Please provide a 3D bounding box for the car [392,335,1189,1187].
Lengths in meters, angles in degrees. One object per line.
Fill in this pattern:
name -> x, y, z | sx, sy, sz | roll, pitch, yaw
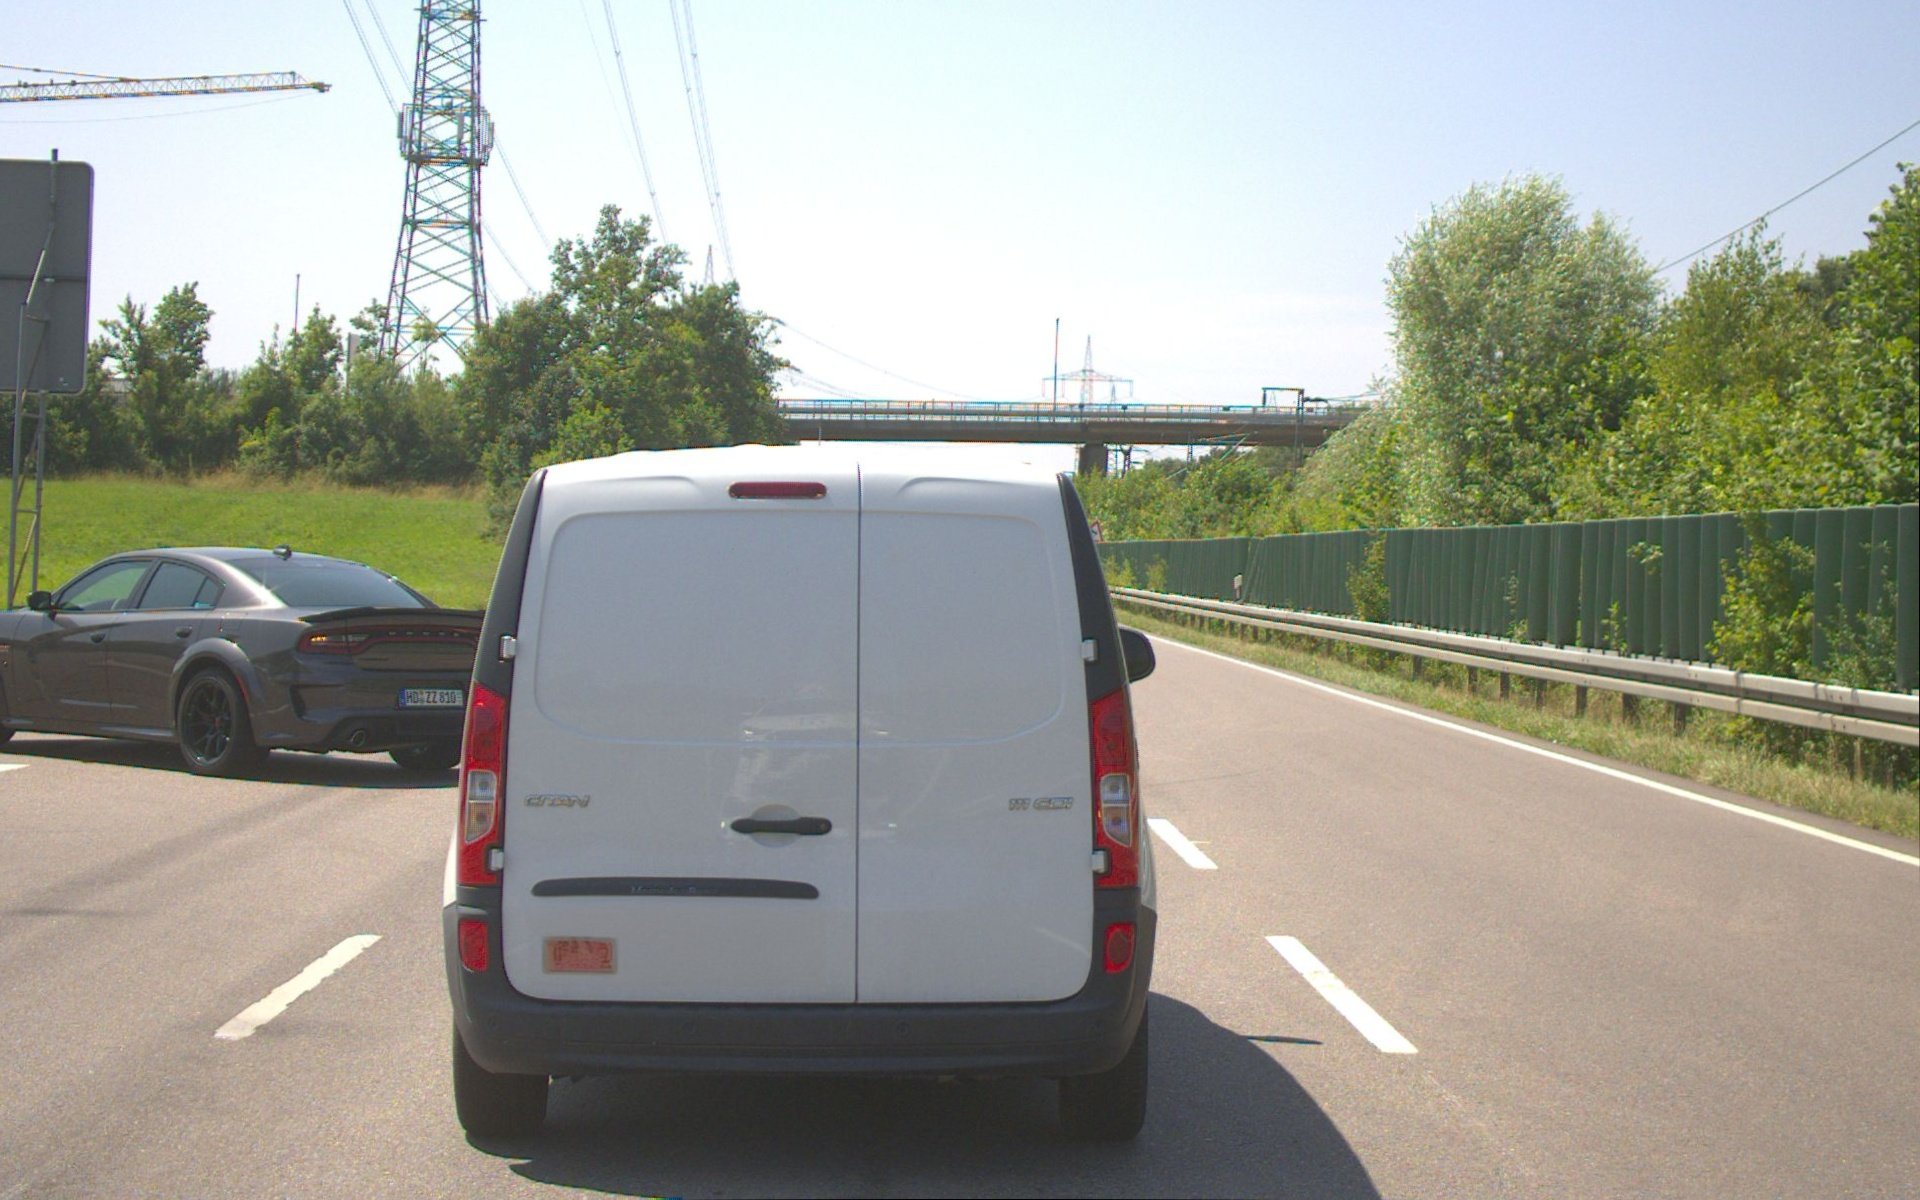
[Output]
car -> -0.504, 0.348, 9.977 | 1.827, 1.964, 4.001 | 1, 1, -3

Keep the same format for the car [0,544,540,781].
car -> -5.105, 0.367, 23.575 | 4.650, 1.392, 1.857 | 2, 1, 44
